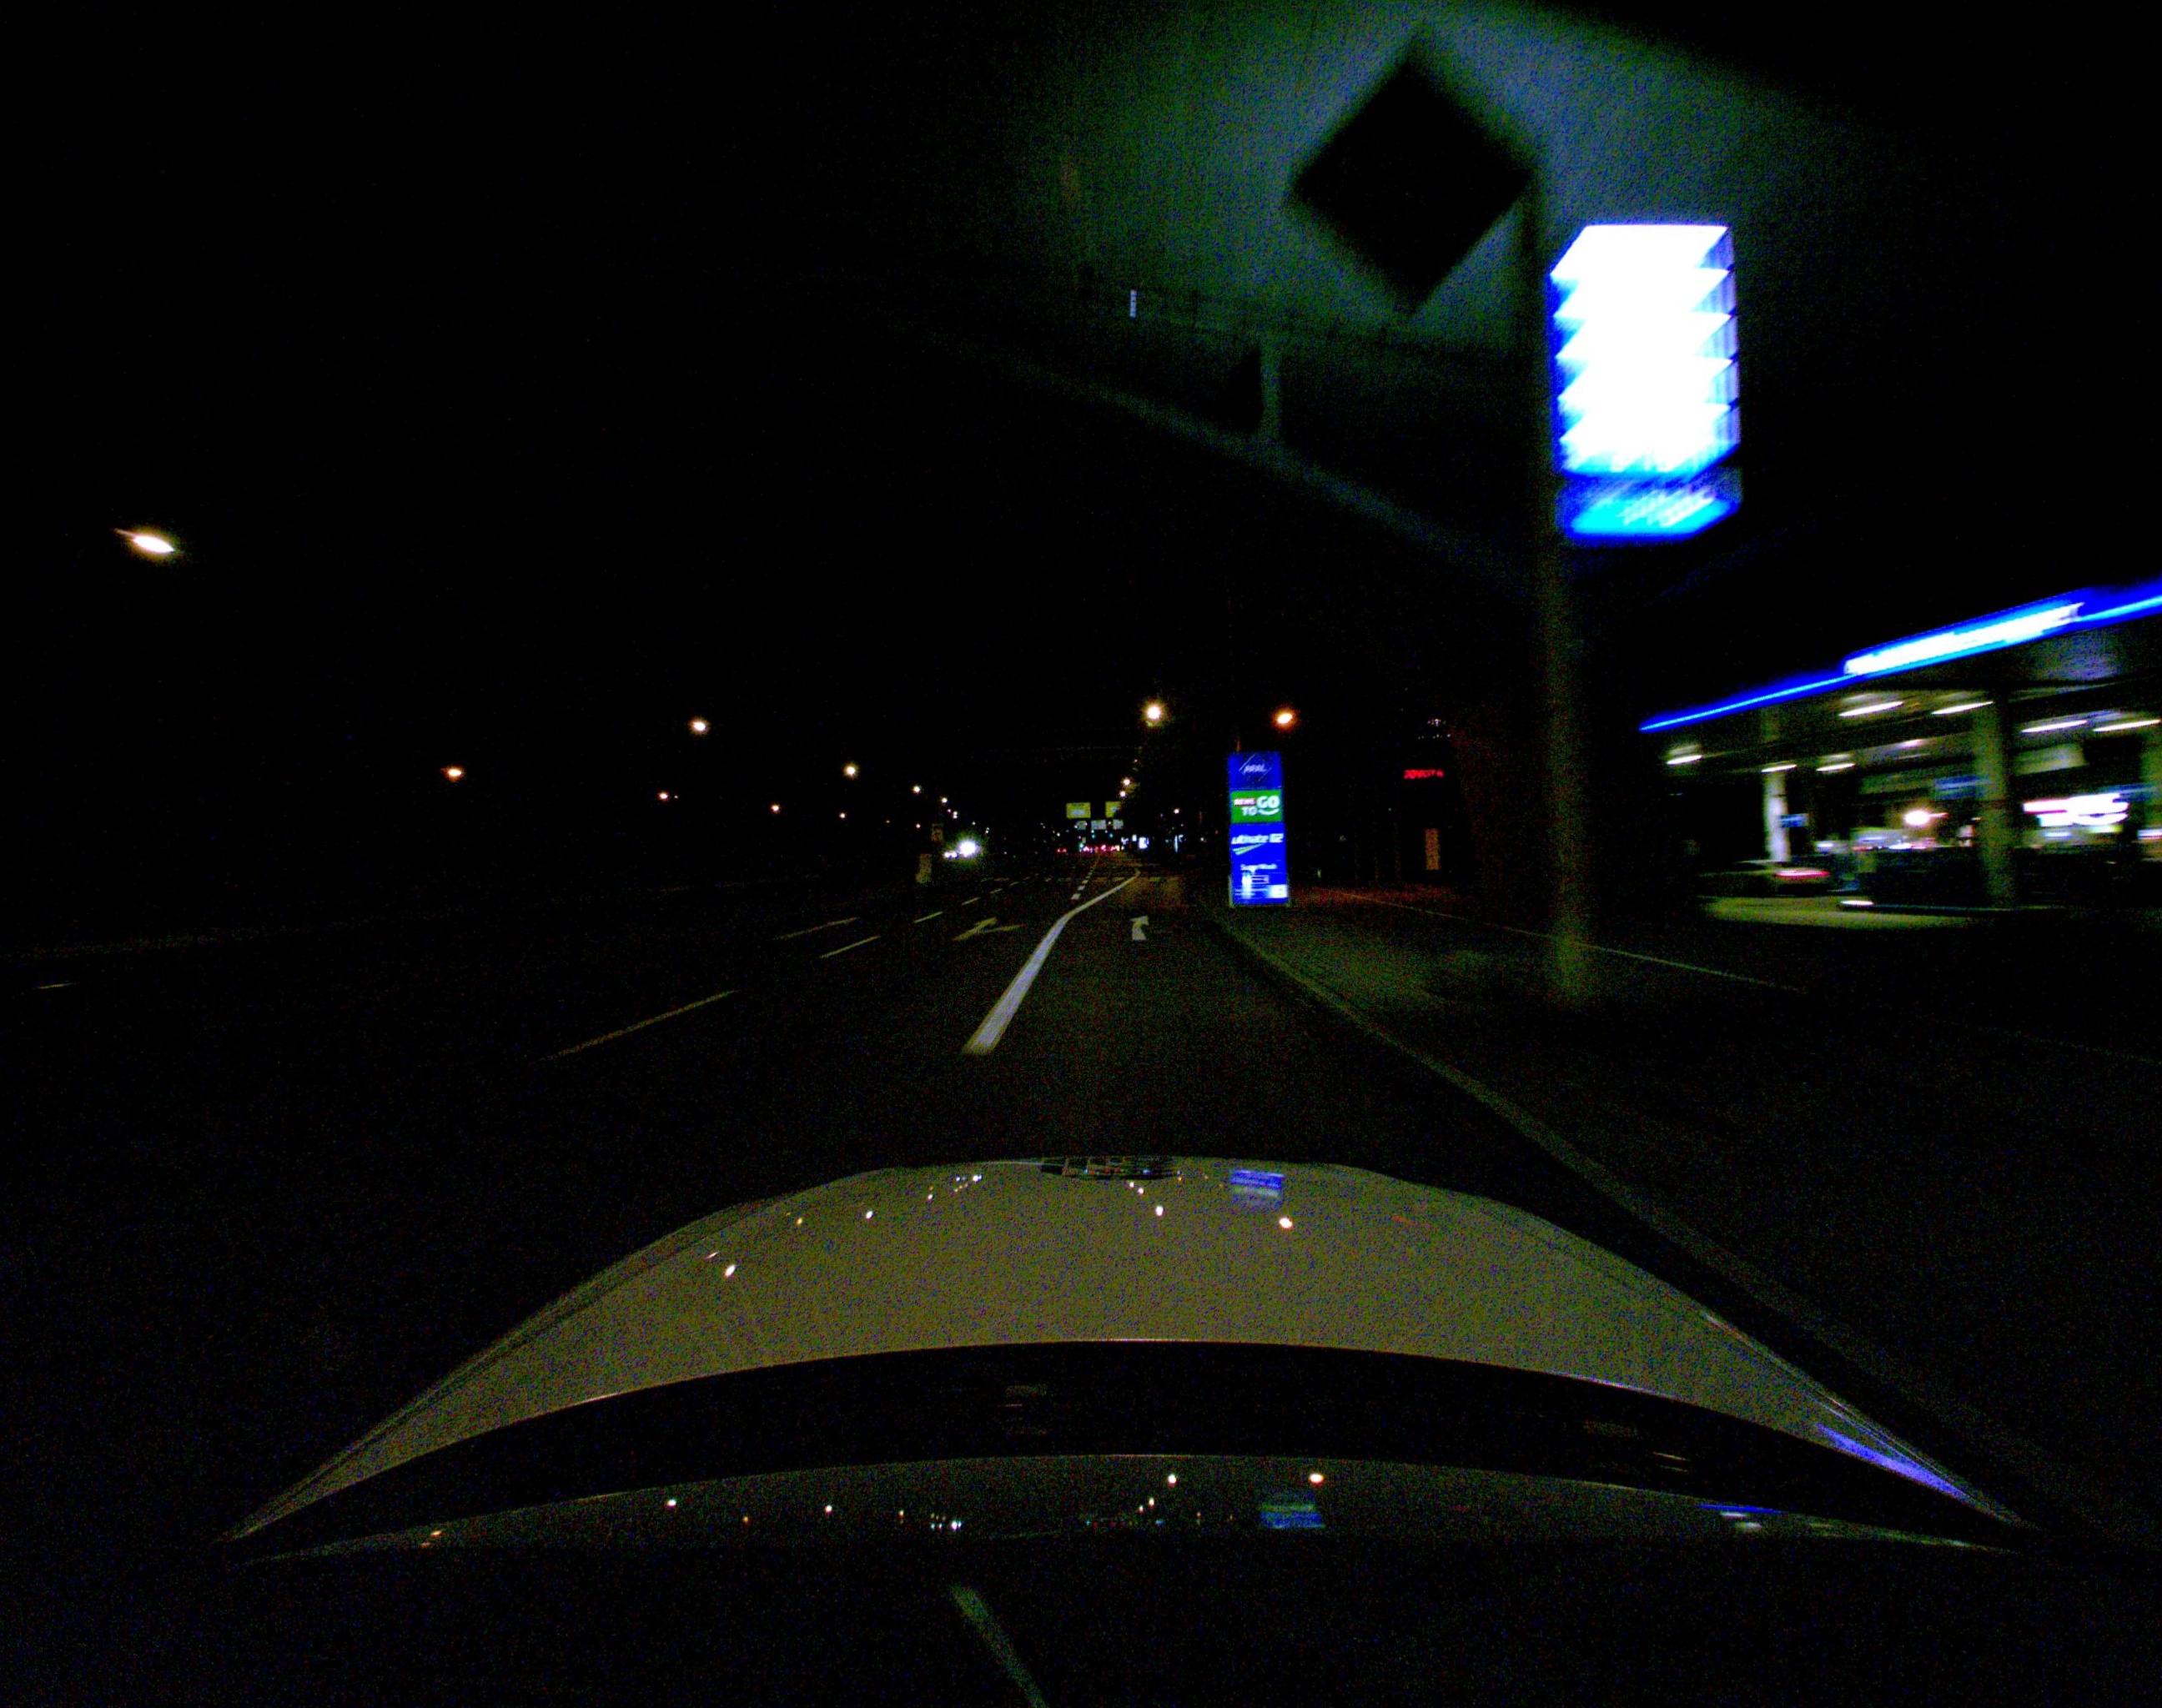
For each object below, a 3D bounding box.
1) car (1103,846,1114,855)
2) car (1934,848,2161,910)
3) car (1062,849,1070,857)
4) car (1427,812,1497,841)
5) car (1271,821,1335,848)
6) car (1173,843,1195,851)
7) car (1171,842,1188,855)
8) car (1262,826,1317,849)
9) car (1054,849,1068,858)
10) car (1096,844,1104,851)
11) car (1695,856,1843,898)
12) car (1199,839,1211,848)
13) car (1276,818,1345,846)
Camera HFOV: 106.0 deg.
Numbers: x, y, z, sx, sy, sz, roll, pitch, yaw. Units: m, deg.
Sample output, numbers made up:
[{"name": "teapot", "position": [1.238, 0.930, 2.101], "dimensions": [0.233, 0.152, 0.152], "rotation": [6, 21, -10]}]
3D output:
[{"name": "car", "position": [5.594, -0.670, 164.132], "dimensions": [1.959, 1.711, 4.004], "rotation": [0, -1, 4]}, {"name": "car", "position": [24.752, 0.586, 20.514], "dimensions": [1.922, 1.363, 4.331], "rotation": [-1, -1, -2]}, {"name": "car", "position": [-3.544, -0.256, 197.666], "dimensions": [1.778, 1.711, 3.995], "rotation": [0, -1, -3]}, {"name": "car", "position": [24.274, -1.734, 51.957], "dimensions": [3.624, 1.470, 1.639], "rotation": [-5, -2, 5]}, {"name": "car", "position": [15.487, -1.357, 56.944], "dimensions": [3.970, 1.571, 1.740], "rotation": [-4, -1, 3]}, {"name": "car", "position": [17.415, -1.175, 137.874], "dimensions": [3.615, 1.451, 1.706], "rotation": [0, -1, -2]}, {"name": "car", "position": [16.121, -0.898, 132.716], "dimensions": [1.977, 1.945, 4.019], "rotation": [0, -1, 19]}, {"name": "car", "position": [15.830, -1.230, 61.960], "dimensions": [3.713, 1.489, 1.742], "rotation": [-3, -1, 0]}, {"name": "car", "position": [-4.284, -0.126, 174.453], "dimensions": [1.973, 1.711, 3.976], "rotation": [0, -1, -17]}, {"name": "car", "position": [5.030, -1.758, 217.340], "dimensions": [1.996, 1.552, 4.299], "rotation": [0, -1, 4]}, {"name": "car", "position": [24.259, 0.798, 28.927], "dimensions": [1.649, 1.359, 4.063], "rotation": [0, -1, -4]}, {"name": "car", "position": [21.220, -1.783, 139.333], "dimensions": [1.882, 1.511, 3.644], "rotation": [0, -1, 8]}, {"name": "car", "position": [15.381, -1.463, 54.633], "dimensions": [4.102, 1.522, 1.824], "rotation": [-3, -2, 3]}]
